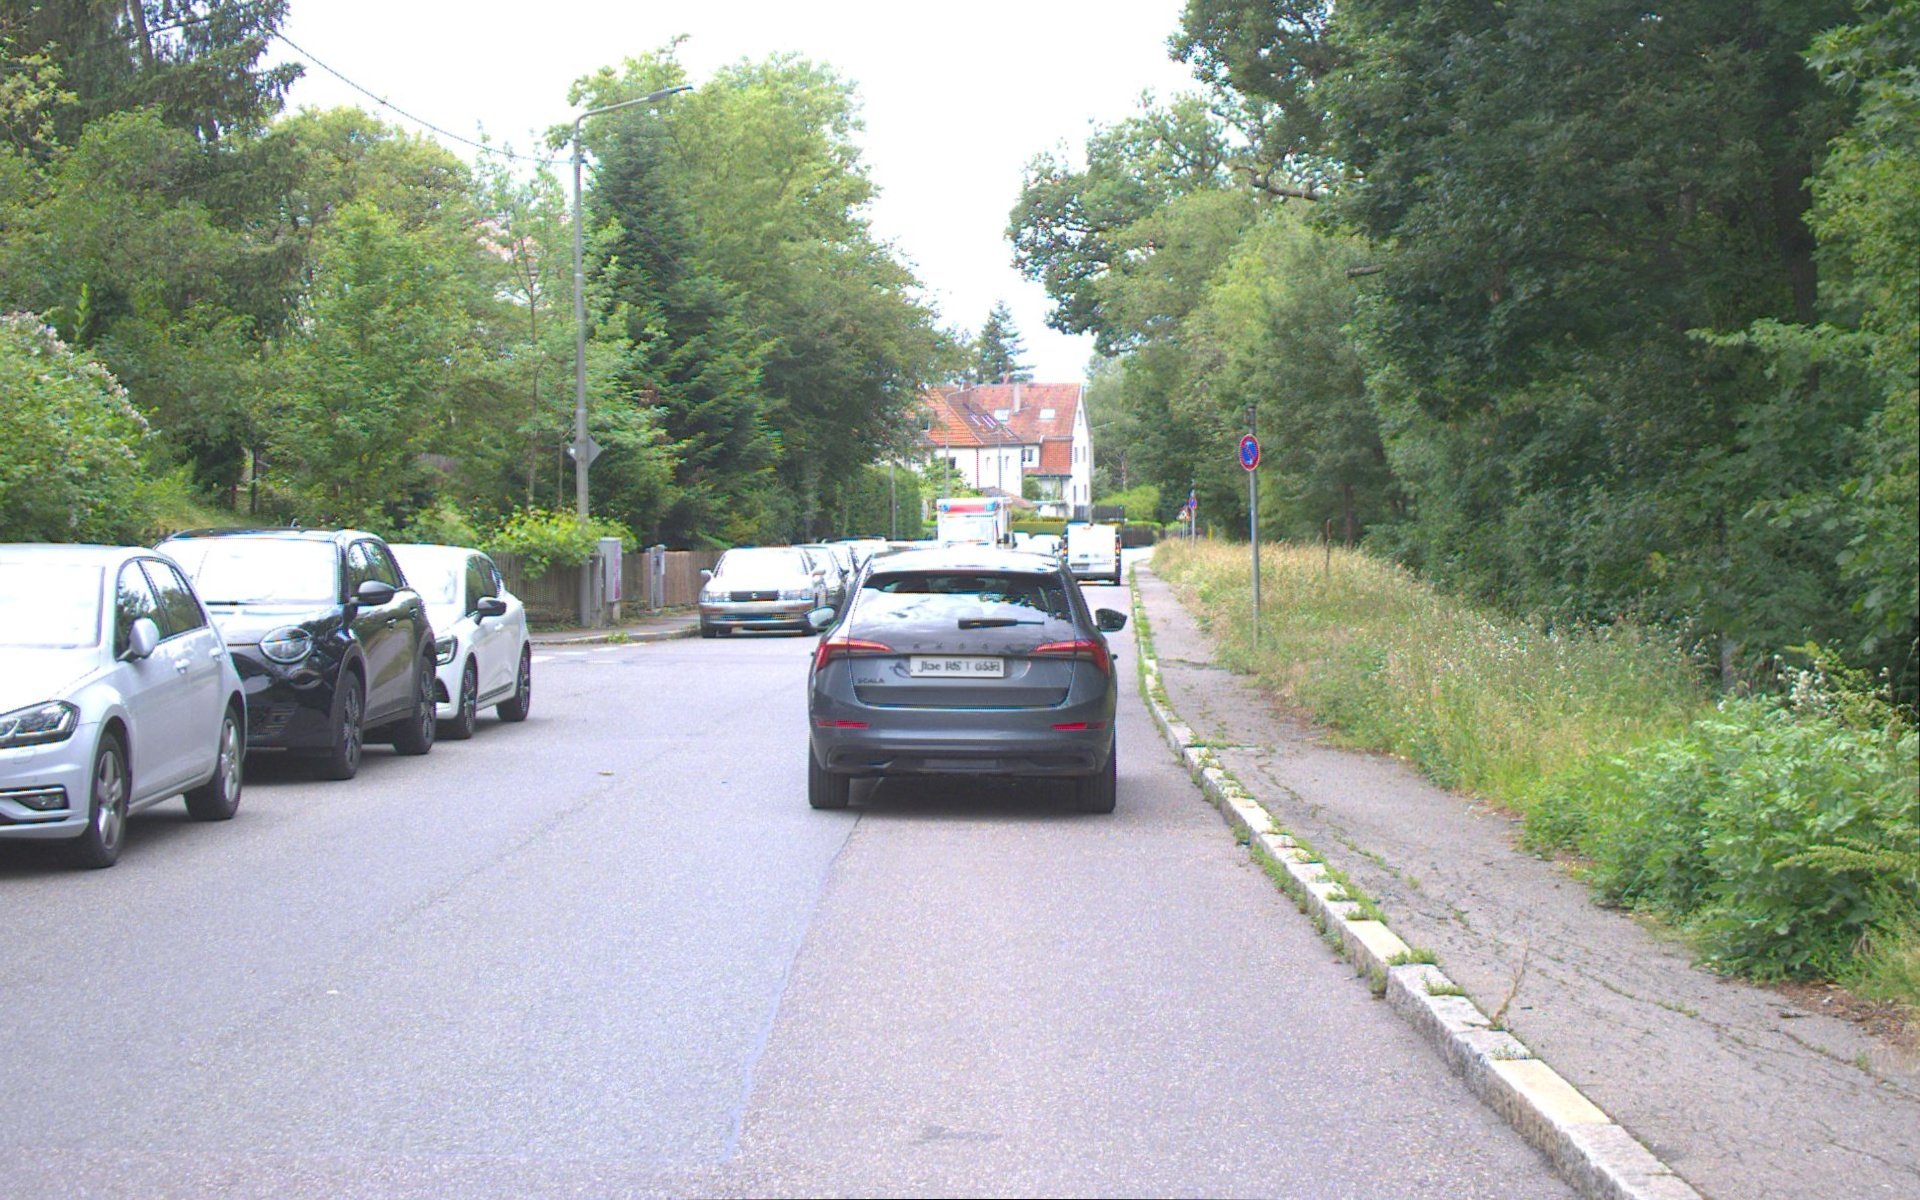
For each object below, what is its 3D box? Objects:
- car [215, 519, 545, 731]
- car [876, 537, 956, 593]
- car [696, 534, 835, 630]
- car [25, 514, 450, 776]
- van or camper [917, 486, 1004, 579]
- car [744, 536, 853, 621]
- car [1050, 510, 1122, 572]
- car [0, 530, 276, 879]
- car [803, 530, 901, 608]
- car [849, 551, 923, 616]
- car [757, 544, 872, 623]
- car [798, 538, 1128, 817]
[{"bbox_3d":[-4.419,0.147,26.765,1.783,1.495,4.015,1,1,1],"label":"car"},{"bbox_3d":[-1.215,-0.989,96.795,1.798,1.499,4.862,-2,1,4],"label":"car"},{"bbox_3d":[-3.058,-0.307,54.811,1.848,1.434,4.910,-1,1,1],"label":"car"},{"bbox_3d":[-4.528,0.228,22.127,1.783,1.495,4.015,1,1,1],"label":"car"},{"bbox_3d":[-0.031,-2.170,111.325,2.456,2.885,7.169,0,1,-3],"label":"van or camper"},{"bbox_3d":[-2.830,-0.406,60.995,1.734,1.434,4.263,-1,1,0],"label":"car"},{"bbox_3d":[4.077,-1.925,111.960,2.071,1.915,4.923,1,1,-1],"label":"car"},{"bbox_3d":[-4.628,0.392,16.603,1.783,1.434,4.324,1,1,0],"label":"car"},{"bbox_3d":[-2.285,-0.681,73.912,1.916,1.556,4.604,-2,1,0],"label":"car"},{"bbox_3d":[-1.823,-0.424,84.384,1.720,1.499,4.008,-2,1,-2],"label":"car"},{"bbox_3d":[-2.773,-0.332,66.168,1.835,1.434,4.116,-1,1,3],"label":"car"},{"bbox_3d":[0.009,0.375,20.421,1.728,1.434,4.324,1,1,0],"label":"car"}]
